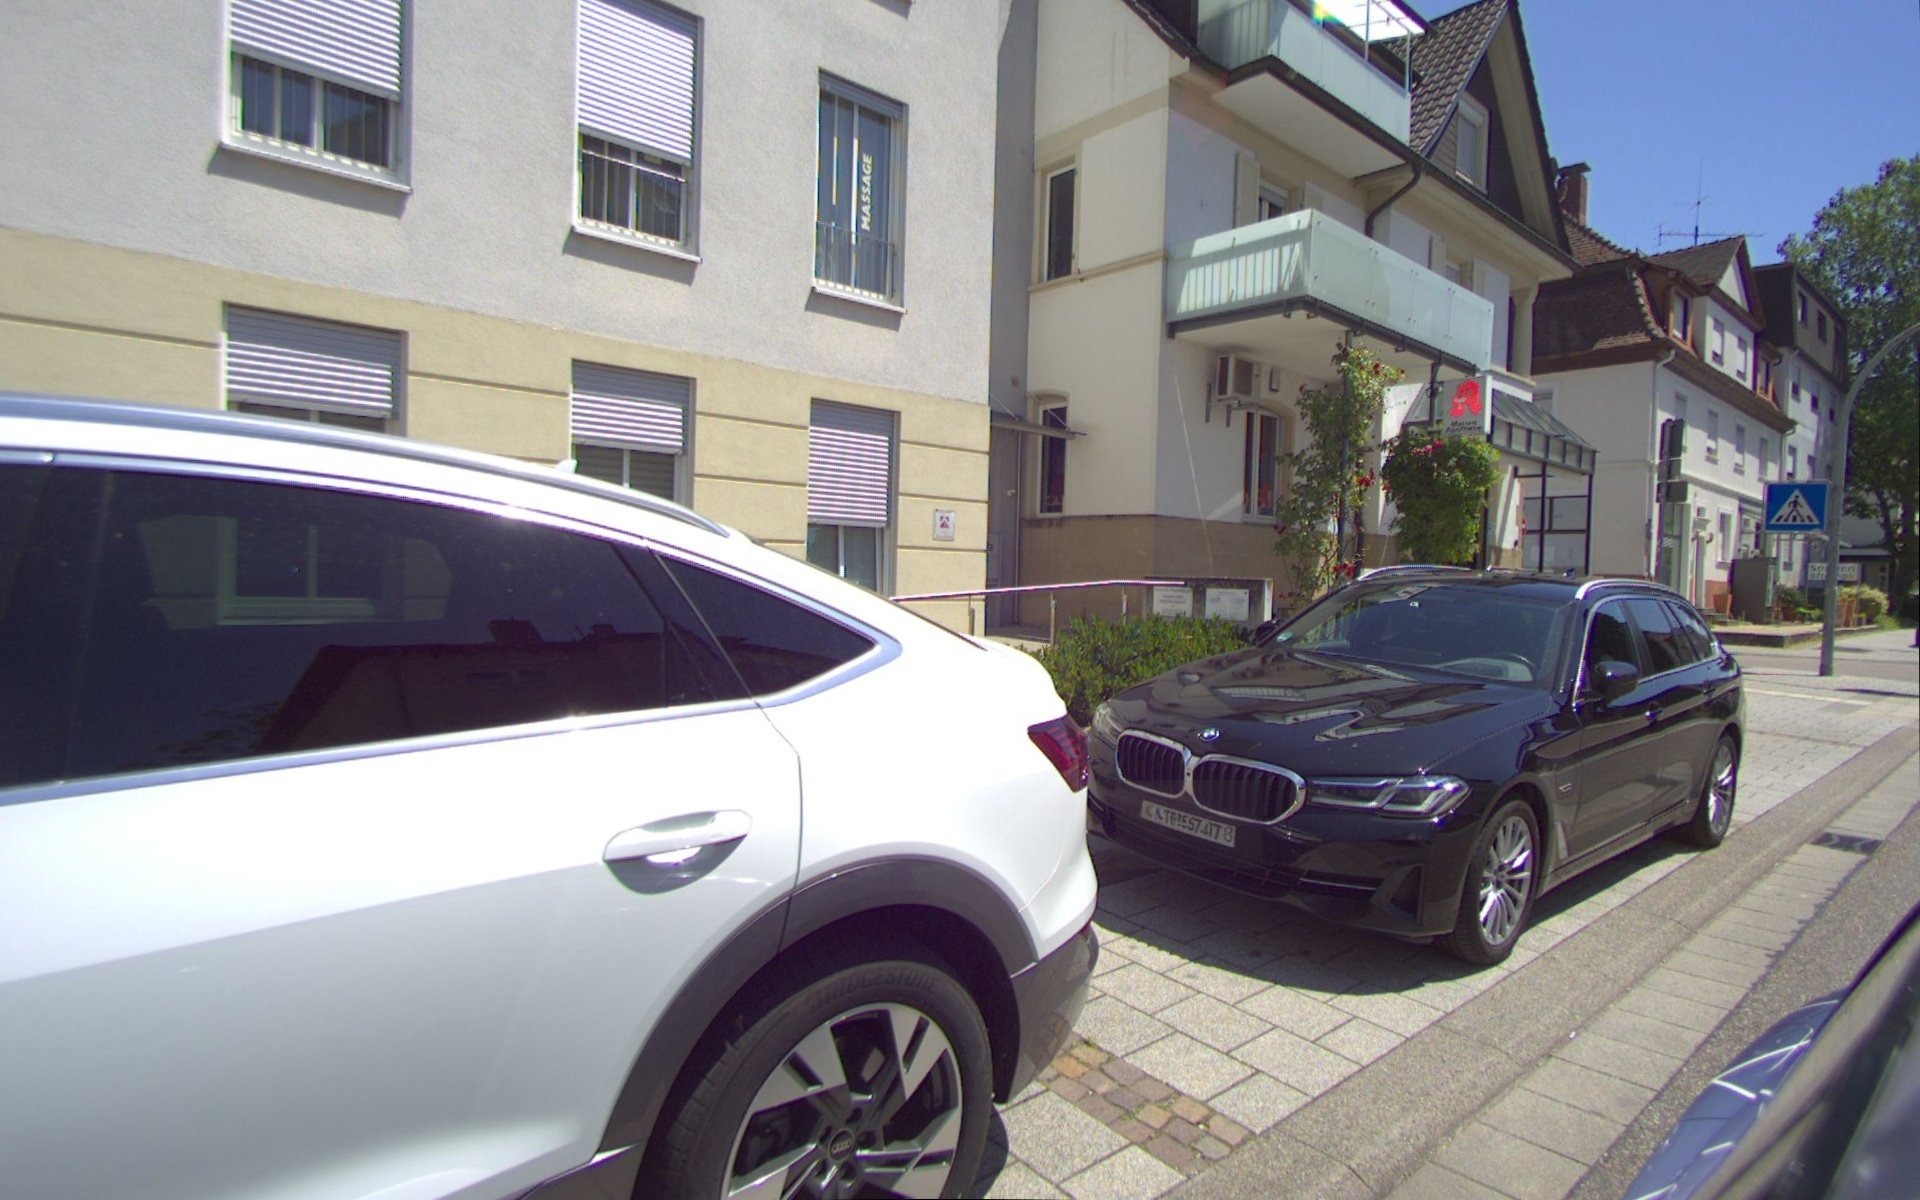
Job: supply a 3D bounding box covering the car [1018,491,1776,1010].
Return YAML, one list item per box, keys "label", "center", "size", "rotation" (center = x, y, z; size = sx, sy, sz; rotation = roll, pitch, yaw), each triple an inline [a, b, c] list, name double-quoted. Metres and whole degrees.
- label: "car"
  center: [2.583, 0.423, 5.243]
  size: [4.664, 1.575, 1.709]
  rotation: [0, 2, -41]

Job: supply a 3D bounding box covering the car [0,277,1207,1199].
- label: "car"
  center: [-1.727, 0.436, 1.569]
  size: [4.499, 1.686, 1.710]
  rotation: [0, 5, -41]
